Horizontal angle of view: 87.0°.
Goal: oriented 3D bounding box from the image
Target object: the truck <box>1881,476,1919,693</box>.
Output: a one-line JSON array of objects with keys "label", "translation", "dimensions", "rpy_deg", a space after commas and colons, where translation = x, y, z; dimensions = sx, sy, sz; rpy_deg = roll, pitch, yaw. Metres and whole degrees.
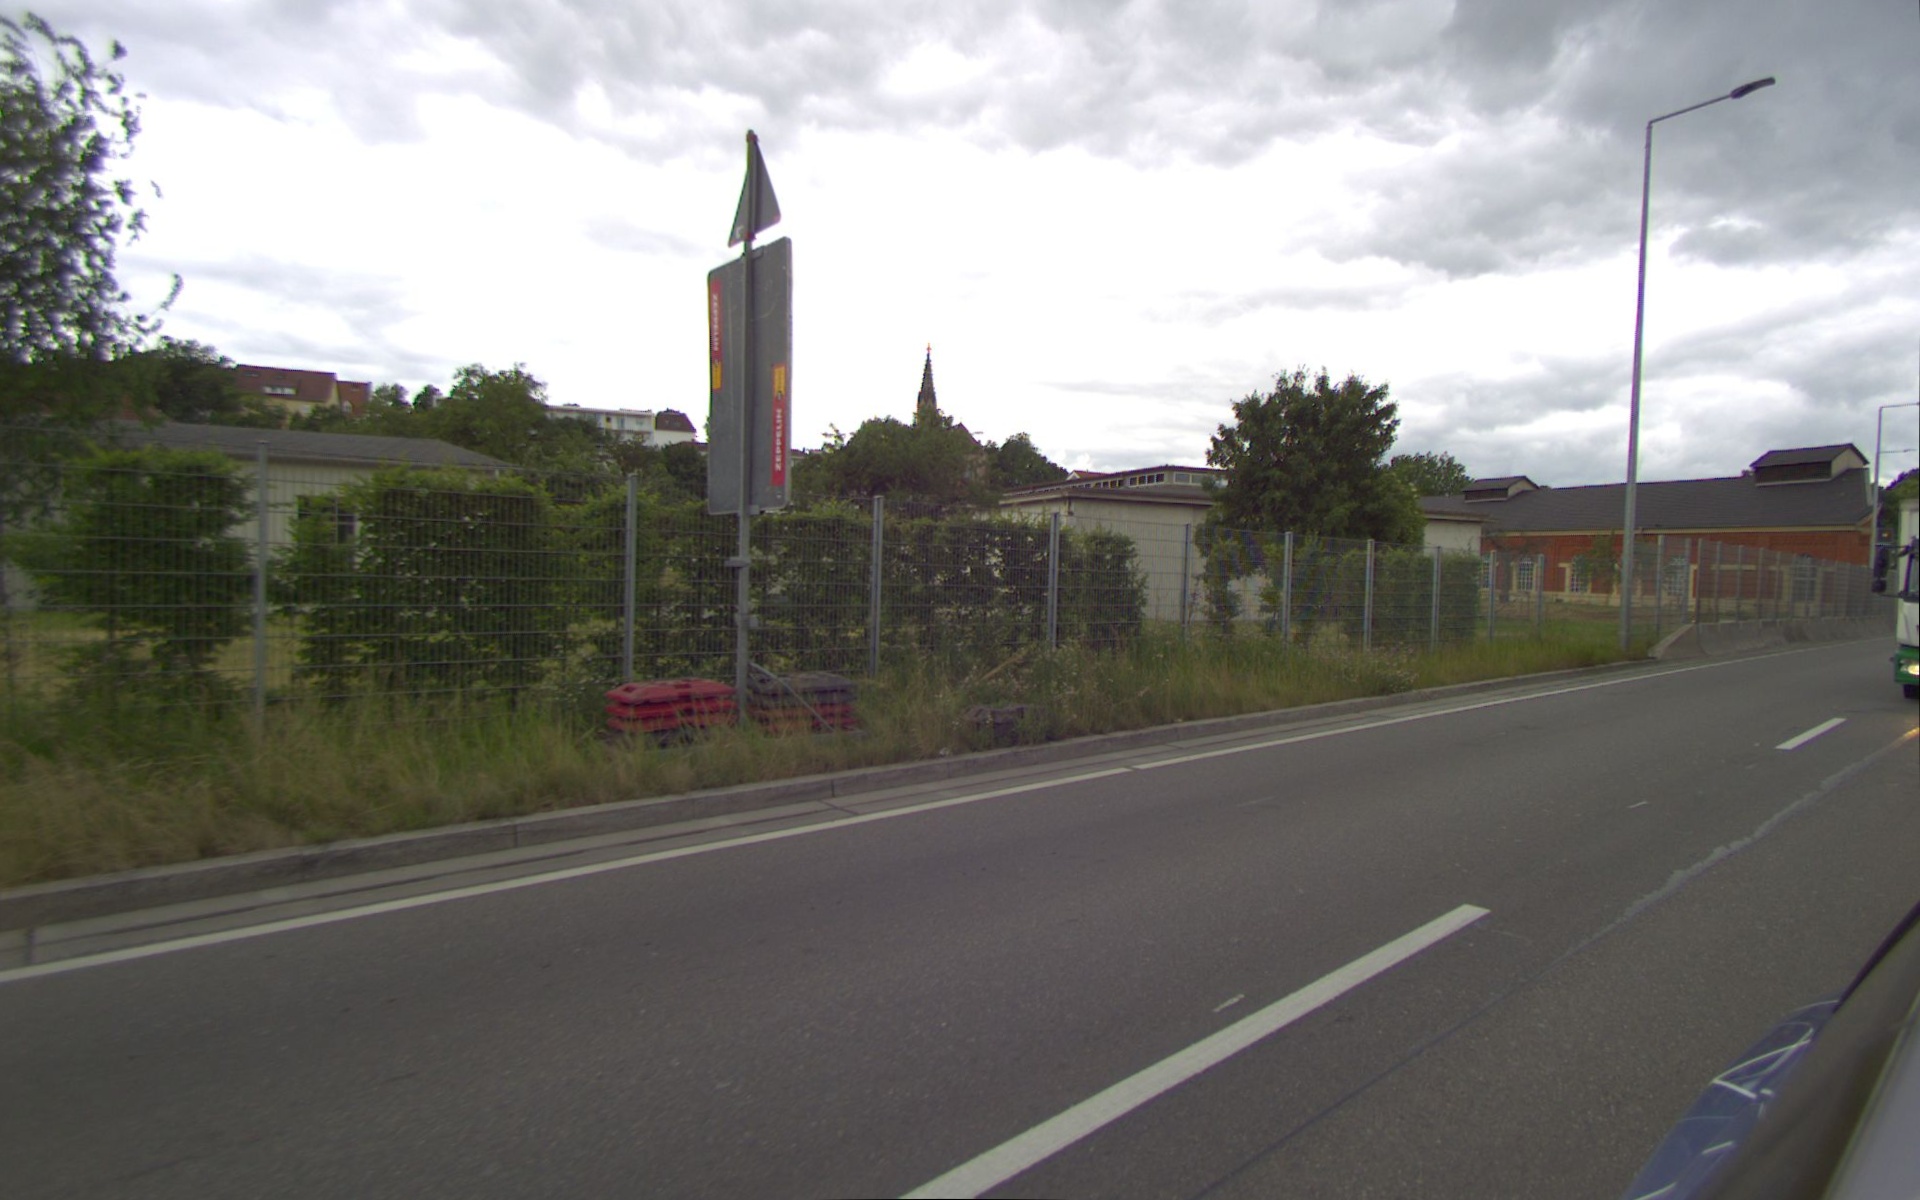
[{"label": "truck", "translation": [17.513, -0.257, 16.600], "dimensions": [8.246, 3.121, 2.938], "rpy_deg": [-1, 1, -43]}]
